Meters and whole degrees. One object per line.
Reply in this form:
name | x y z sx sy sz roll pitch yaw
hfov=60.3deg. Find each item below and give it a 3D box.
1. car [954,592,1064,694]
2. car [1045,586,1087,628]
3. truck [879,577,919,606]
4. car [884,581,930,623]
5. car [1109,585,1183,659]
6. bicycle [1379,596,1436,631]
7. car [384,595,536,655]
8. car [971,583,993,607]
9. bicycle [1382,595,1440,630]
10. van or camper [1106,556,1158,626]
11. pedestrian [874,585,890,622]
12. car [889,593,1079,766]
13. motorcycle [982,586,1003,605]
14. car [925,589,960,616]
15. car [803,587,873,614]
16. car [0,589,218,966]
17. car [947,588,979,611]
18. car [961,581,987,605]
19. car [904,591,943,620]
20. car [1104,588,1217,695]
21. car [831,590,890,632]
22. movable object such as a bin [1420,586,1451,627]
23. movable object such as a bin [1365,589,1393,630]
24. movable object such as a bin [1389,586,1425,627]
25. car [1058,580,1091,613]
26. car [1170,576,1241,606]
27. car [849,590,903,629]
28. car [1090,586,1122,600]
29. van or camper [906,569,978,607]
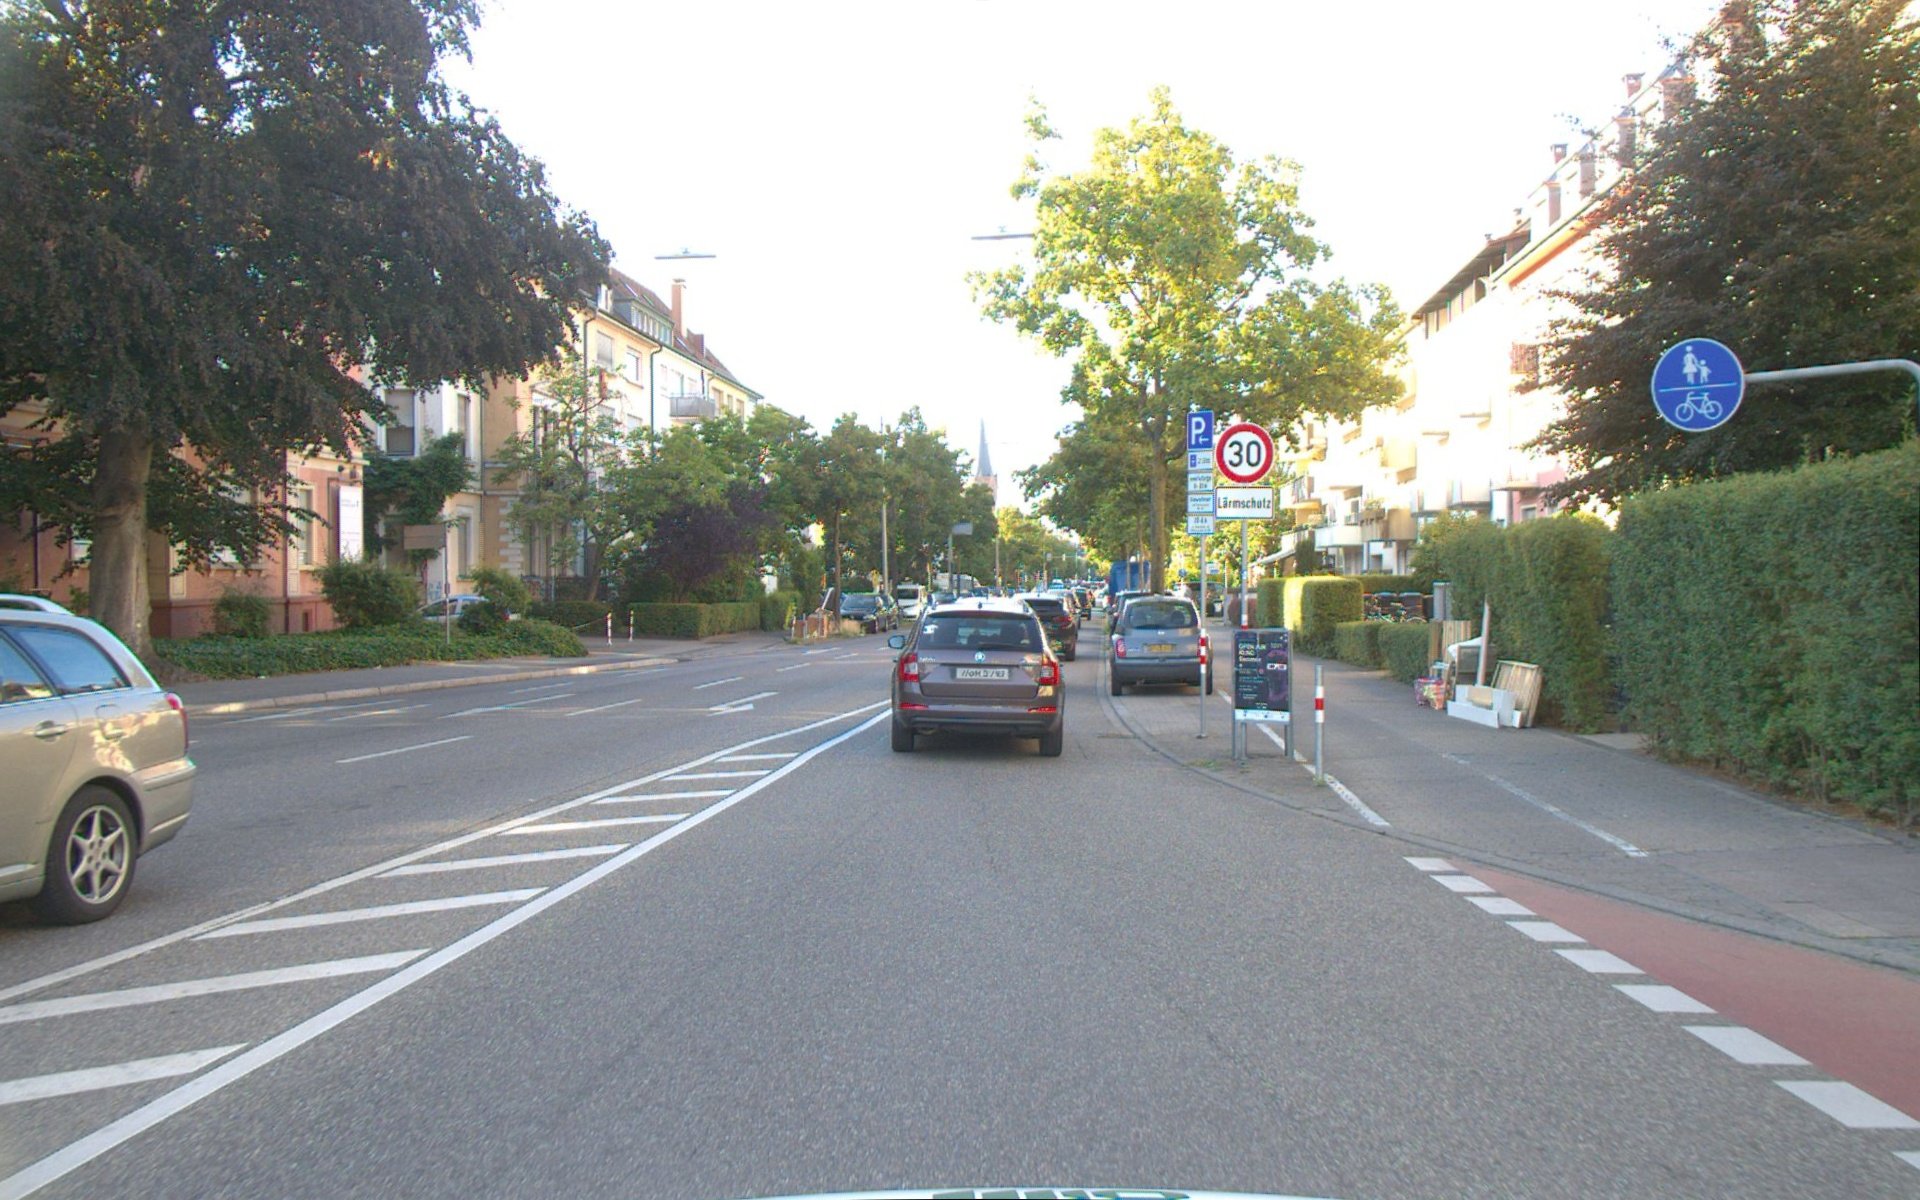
car | 0.802 0.666 27.703 1.694 1.520 3.952 0 1 1
car | 4.523 0.273 70.309 1.696 1.680 3.544 0 1 5
truck | -4.635 -0.664 126.188 2.852 2.130 1.547 0 1 4
car | -2.539 0.061 80.325 1.732 1.952 4.463 0 1 5
car | 4.555 0.503 40.991 1.696 1.680 4.294 0 1 5
bicycle | 11.207 0.341 41.394 1.330 0.868 0.365 0 1 5
car | -13.240 0.638 43.937 3.425 1.512 1.816 0 1 1
car | 1.738 -0.427 128.874 1.475 1.788 3.696 0 1 5
bicycle | 11.157 0.310 40.940 1.341 0.868 0.369 0 1 6
van or camper | 7.014 -0.360 67.911 2.024 2.722 5.993 0 0 5
pedestrian | -4.366 0.211 92.903 0.751 2.049 0.976 0 1 4
car | 0.138 0.725 17.285 1.695 1.520 3.948 -1 1 -3
motorcycle | 2.728 -0.395 139.126 0.758 1.538 2.003 -1 1 -37
car | -1.037 0.110 99.697 1.680 1.523 4.250 0 1 5
car | -7.138 -0.002 97.197 3.904 1.505 2.001 1 1 1
car | -4.925 0.764 6.330 1.789 1.541 4.607 0 1 4
car | 0.245 -0.045 111.076 1.717 1.445 4.429 0 1 6
car | 1.072 -0.537 124.243 1.713 1.771 3.593 0 1 5
car | -1.928 0.267 87.893 1.680 1.445 3.789 0 1 5
car | 3.221 0.623 27.113 1.696 1.578 3.648 0 1 5
car | -3.881 0.413 65.034 1.713 1.529 4.199 0 1 5
movable object such as a bin | 12.093 0.166 42.091 0.598 1.020 0.797 0 1 4
movable object such as a bin | 10.685 0.228 42.214 0.569 1.020 0.797 0 1 4
movable object such as a bin | 11.383 0.171 42.140 0.759 1.020 0.797 0 1 4
car | 6.074 -0.195 87.459 1.696 1.680 3.544 0 1 5
car | 16.728 -0.631 112.876 4.471 1.926 1.901 -1 1 -23
car | -3.532 0.385 70.038 1.713 1.529 3.981 0 1 5
car | 18.893 -0.943 213.700 1.852 1.788 4.148 0 1 45
van or camper | -1.854 -1.273 175.910 7.480 3.942 2.001 0 1 3
